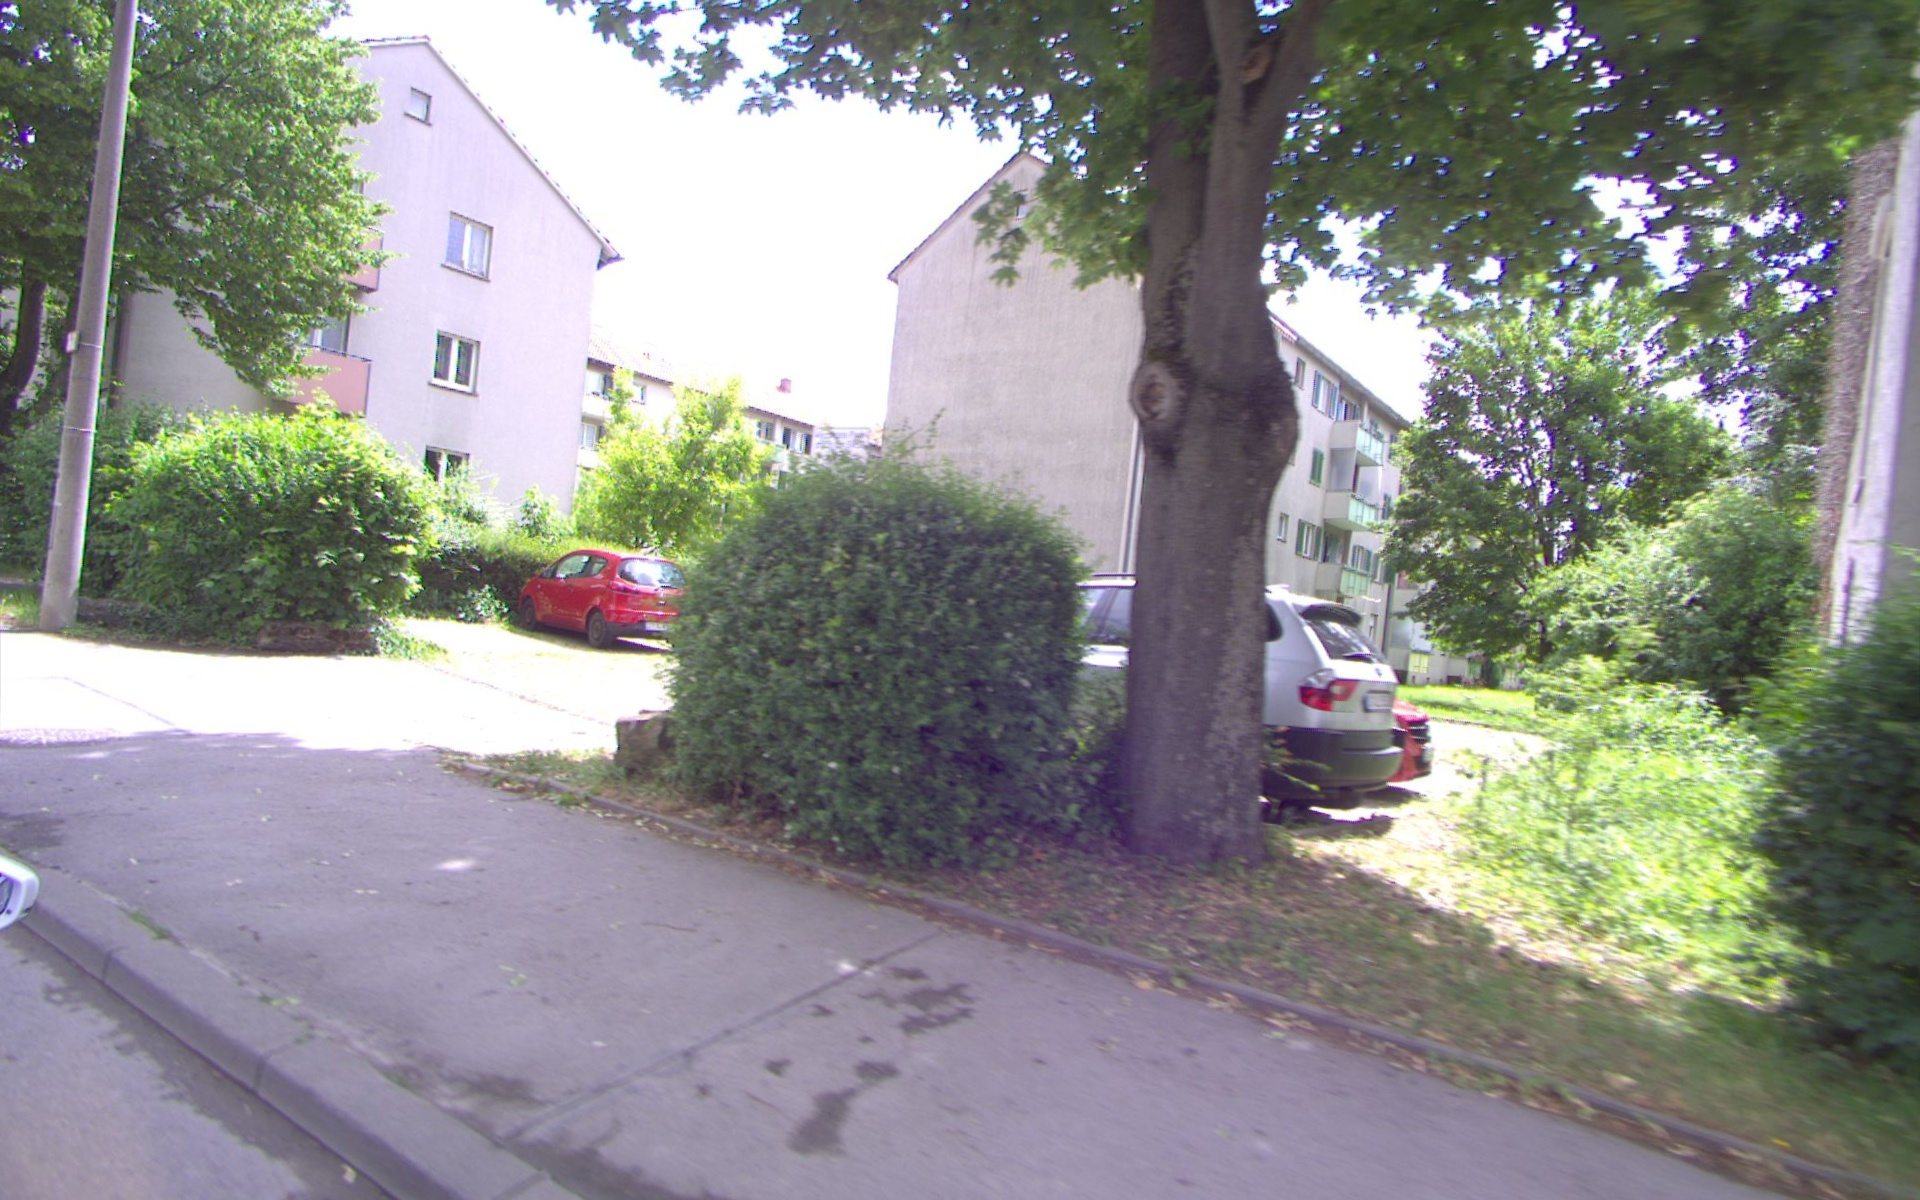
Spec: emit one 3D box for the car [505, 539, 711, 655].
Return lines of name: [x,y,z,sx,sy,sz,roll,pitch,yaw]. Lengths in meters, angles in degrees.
car: [-5.916,-0.082,16.710,3.643,1.499,1.659,7,1,44]

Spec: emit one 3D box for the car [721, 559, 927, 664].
car: [-2.839,0.199,20.433,4.049,1.627,1.795,7,0,41]

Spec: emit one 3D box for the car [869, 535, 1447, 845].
car: [1.378,0.514,7.889,3.943,1.670,1.809,6,1,40]

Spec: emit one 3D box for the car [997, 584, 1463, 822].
car: [2.565,0.869,9.926,3.938,1.603,1.812,6,0,36]
